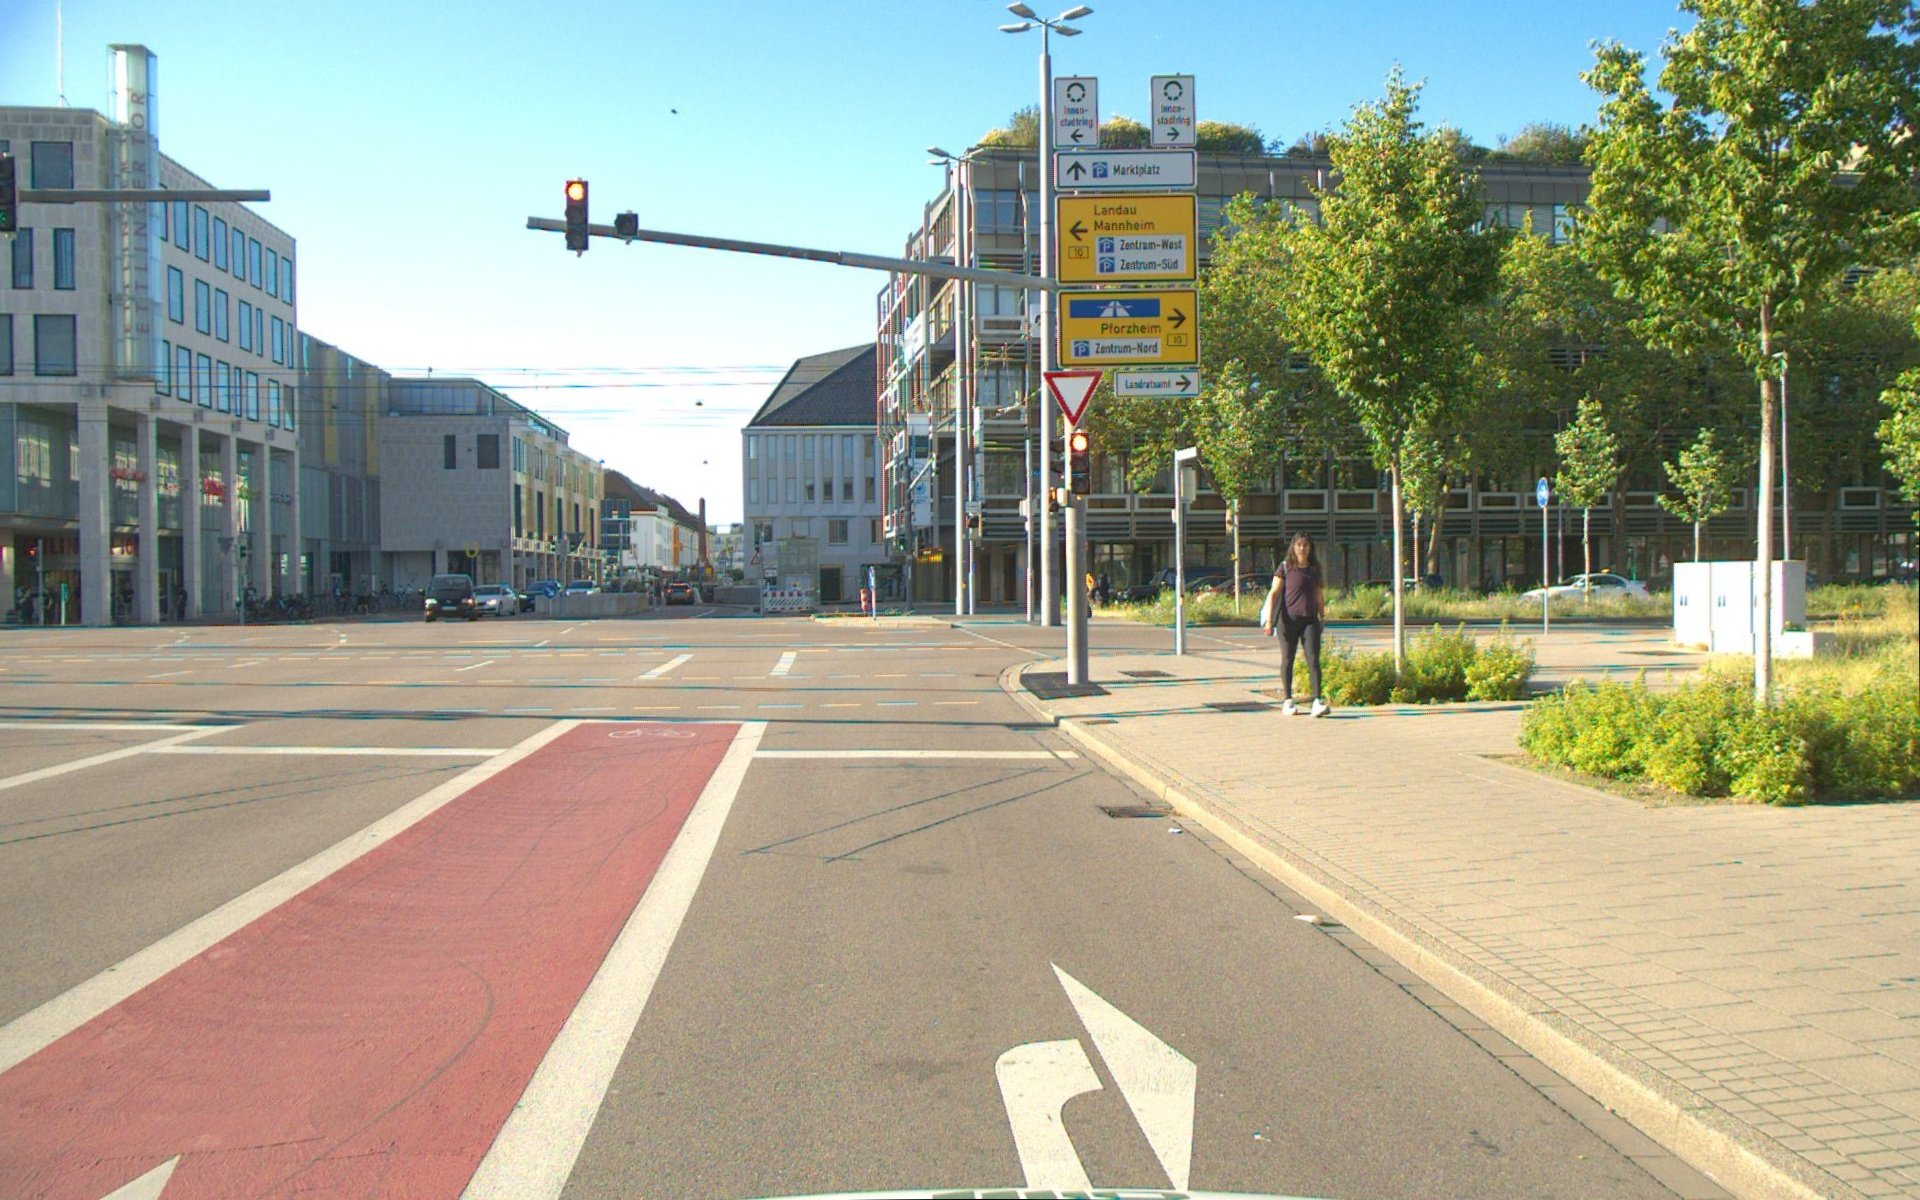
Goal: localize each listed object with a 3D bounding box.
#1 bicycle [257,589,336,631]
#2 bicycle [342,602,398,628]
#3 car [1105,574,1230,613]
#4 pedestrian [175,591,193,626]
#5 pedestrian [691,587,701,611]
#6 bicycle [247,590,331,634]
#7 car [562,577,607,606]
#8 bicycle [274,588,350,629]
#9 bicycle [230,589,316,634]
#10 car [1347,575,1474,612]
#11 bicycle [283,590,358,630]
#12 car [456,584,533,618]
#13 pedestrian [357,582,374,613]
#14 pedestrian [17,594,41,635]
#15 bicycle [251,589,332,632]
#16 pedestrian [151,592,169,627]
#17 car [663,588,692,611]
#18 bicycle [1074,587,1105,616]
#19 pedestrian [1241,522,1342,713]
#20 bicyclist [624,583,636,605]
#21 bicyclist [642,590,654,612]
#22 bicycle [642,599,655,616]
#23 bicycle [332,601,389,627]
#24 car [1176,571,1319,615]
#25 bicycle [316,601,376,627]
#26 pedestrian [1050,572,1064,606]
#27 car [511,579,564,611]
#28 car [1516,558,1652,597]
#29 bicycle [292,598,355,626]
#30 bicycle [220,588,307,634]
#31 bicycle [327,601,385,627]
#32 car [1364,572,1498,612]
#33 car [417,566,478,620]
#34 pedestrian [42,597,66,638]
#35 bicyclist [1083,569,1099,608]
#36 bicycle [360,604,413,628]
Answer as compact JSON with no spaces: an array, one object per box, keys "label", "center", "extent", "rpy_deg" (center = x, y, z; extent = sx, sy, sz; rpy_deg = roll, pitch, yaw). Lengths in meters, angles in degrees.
[{"label":"bicycle","center":[-33.826,0.504,84.393],"extent":[3.553,2.049,1.085],"rpy_deg":[-1,1,-8]},{"label":"bicycle","center":[-35.516,0.902,99.638],"extent":[2.993,1.425,0.901],"rpy_deg":[-1,1,-8]},{"label":"car","center":[8.145,-0.268,65.016],"extent":[4.543,1.380,1.997],"rpy_deg":[-1,2,-8]},{"label":"pedestrian","center":[-37.147,0.403,79.140],"extent":[0.619,1.636,0.644],"rpy_deg":[-1,1,-39]},{"label":"pedestrian","center":[-18.934,-0.099,118.663],"extent":[0.701,1.697,0.986],"rpy_deg":[-1,1,-8]},{"label":"bicycle","center":[-32.578,0.562,80.382],"extent":[3.553,2.049,1.085],"rpy_deg":[-1,1,-8]},{"label":"car","center":[-22.432,-0.520,99.002],"extent":[1.954,1.651,4.235],"rpy_deg":[-1,1,-4]},{"label":"bicycle","center":[-33.862,0.451,86.484],"extent":[3.553,2.049,0.901],"rpy_deg":[-1,1,-8]},{"label":"bicycle","center":[-32.766,0.530,78.905],"extent":[3.553,2.049,1.085],"rpy_deg":[-1,1,-8]},{"label":"car","center":[18.227,-0.273,67.026],"extent":[4.543,1.380,1.997],"rpy_deg":[-1,2,-8]},{"label":"bicycle","center":[-34.118,0.529,88.312],"extent":[3.553,2.049,0.901],"rpy_deg":[-1,1,-8]},{"label":"car","center":[-21.168,0.011,75.401],"extent":[1.952,1.380,4.649],"rpy_deg":[0,2,3]},{"label":"pedestrian","center":[-32.114,-0.152,89.347],"extent":[0.734,1.636,0.618],"rpy_deg":[-1,1,-31]},{"label":"pedestrian","center":[-37.460,0.583,66.548],"extent":[0.610,1.636,0.653],"rpy_deg":[-1,1,-5]},{"label":"bicycle","center":[-33.629,0.501,83.257],"extent":[3.553,2.049,1.085],"rpy_deg":[-1,1,-8]},{"label":"pedestrian","center":[-37.983,0.435,78.527],"extent":[0.619,1.636,0.644],"rpy_deg":[-1,1,-39]},{"label":"car","center":[-20.117,-0.059,117.888],"extent":[1.957,1.579,3.991],"rpy_deg":[-1,1,-10]},{"label":"bicycle","center":[4.544,0.043,58.084],"extent":[1.055,0.988,0.458],"rpy_deg":[-1,1,-2]},{"label":"pedestrian","center":[3.228,0.161,16.055],"extent":[0.804,1.779,1.042],"rpy_deg":[-2,0,18]},{"label":"bicyclist","center":[-22.702,-0.420,113.726],"extent":[0.732,1.486,0.766],"rpy_deg":[-1,1,-6]},{"label":"bicyclist","center":[-21.622,0.063,114.687],"extent":[0.732,1.486,0.766],"rpy_deg":[-1,1,-6]},{"label":"bicycle","center":[-21.621,0.518,114.757],"extent":[0.727,1.064,2.428],"rpy_deg":[-1,1,-7]},{"label":"bicycle","center":[-35.146,0.811,96.959],"extent":[2.993,1.425,0.901],"rpy_deg":[-1,1,-8]},{"label":"car","center":[9.955,-0.261,57.490],"extent":[4.543,1.380,1.997],"rpy_deg":[-1,2,-8]},{"label":"bicycle","center":[-34.765,0.788,93.680],"extent":[2.993,1.425,0.901],"rpy_deg":[-1,1,-8]},{"label":"pedestrian","center":[4.520,-0.502,76.683],"extent":[0.609,1.545,0.654],"rpy_deg":[-1,1,5]},{"label":"car","center":[-21.876,-0.300,85.789],"extent":[1.954,1.556,4.032],"rpy_deg":[-1,1,-5]},{"label":"car","center":[24.122,-0.882,64.045],"extent":[4.543,1.380,1.997],"rpy_deg":[-1,2,-8]},{"label":"bicycle","center":[-34.333,0.656,89.277],"extent":[2.993,1.425,0.901],"rpy_deg":[-1,1,-8]},{"label":"bicycle","center":[-32.633,0.522,77.574],"extent":[3.557,2.049,1.083],"rpy_deg":[-1,1,-12]},{"label":"bicycle","center":[-34.884,0.816,95.562],"extent":[2.993,1.425,0.901],"rpy_deg":[-1,1,-8]},{"label":"car","center":[18.034,-0.327,63.385],"extent":[4.543,1.380,1.997],"rpy_deg":[-1,2,-8]},{"label":"car","center":[-18.675,-0.294,60.428],"extent":[1.961,1.772,4.627],"rpy_deg":[-1,2,-15]},{"label":"pedestrian","center":[-36.465,0.711,66.574],"extent":[0.610,1.636,0.653],"rpy_deg":[-1,1,-5]},{"label":"bicyclist","center":[4.589,-0.402,58.088],"extent":[0.498,1.361,0.452],"rpy_deg":[-1,0,-1]},{"label":"bicycle","center":[-35.971,0.981,103.747],"extent":[2.993,1.425,0.901],"rpy_deg":[-1,1,-8]}]
